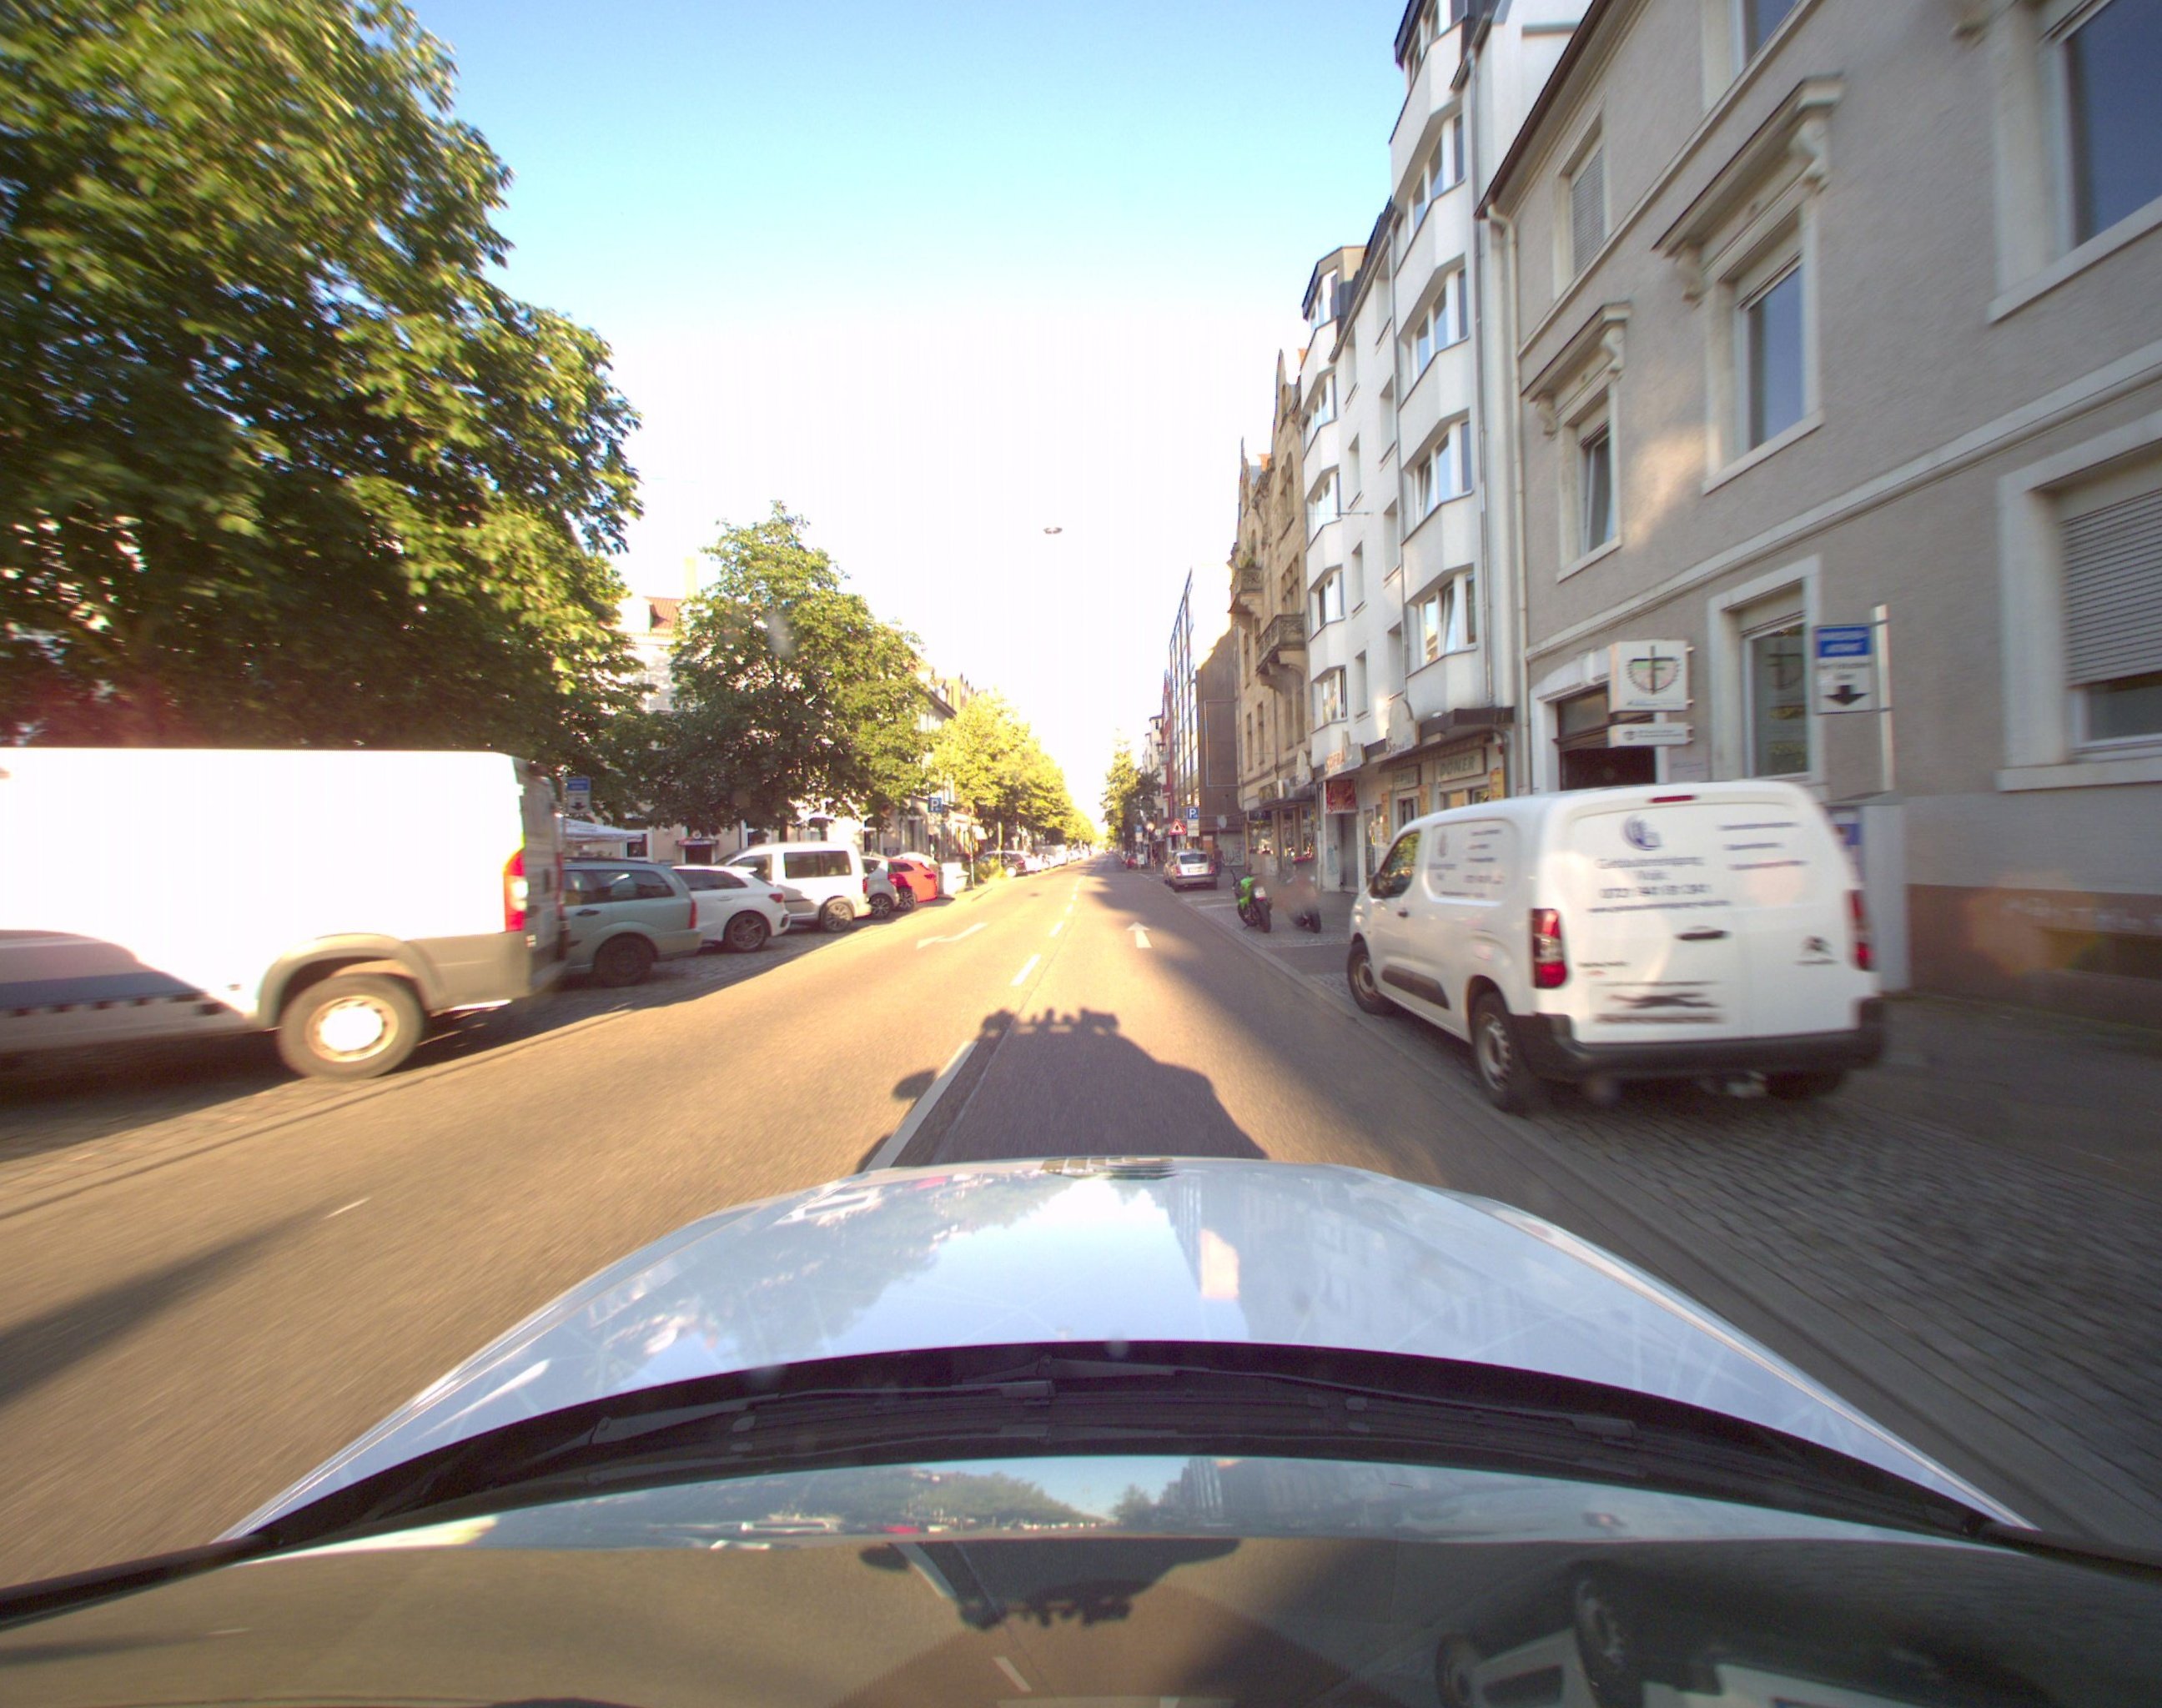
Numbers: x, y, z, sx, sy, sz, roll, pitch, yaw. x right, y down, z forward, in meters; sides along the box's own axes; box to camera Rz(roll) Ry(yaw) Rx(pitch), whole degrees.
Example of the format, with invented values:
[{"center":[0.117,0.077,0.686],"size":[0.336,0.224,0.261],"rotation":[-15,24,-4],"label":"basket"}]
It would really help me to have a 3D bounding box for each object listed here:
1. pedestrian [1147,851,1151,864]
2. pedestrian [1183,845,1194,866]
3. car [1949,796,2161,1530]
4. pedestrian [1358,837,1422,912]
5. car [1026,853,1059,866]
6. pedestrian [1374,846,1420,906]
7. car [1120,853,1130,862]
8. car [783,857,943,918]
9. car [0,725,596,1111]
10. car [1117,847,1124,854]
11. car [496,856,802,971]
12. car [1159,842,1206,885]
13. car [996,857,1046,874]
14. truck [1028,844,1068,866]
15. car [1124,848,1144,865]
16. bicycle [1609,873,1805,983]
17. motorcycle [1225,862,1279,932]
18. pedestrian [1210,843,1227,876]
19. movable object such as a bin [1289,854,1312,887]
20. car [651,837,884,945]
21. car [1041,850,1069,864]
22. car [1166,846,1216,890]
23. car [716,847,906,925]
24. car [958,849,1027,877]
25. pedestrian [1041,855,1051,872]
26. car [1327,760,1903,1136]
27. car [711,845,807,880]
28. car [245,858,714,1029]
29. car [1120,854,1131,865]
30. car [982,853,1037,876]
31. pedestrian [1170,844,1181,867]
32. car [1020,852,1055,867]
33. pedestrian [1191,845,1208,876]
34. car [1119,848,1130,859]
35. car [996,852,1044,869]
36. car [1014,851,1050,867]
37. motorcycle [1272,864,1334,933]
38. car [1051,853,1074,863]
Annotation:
[{"center":[8.802,0.459,105.623],"size":[0.532,1.622,0.534],"rotation":[-1,0,2],"label":"pedestrian"},{"center":[8.928,0.091,67.838],"size":[0.763,1.689,0.786],"rotation":[-2,0,-1],"label":"pedestrian"},{"center":[3.048,0.658,0.183],"size":[1.661,1.544,3.884],"rotation":[-1,1,2],"label":"car"},{"center":[6.331,0.407,16.753],"size":[0.952,1.486,0.993],"rotation":[-1,0,1],"label":"pedestrian"},{"center":[-4.493,0.643,95.880],"size":[3.726,1.449,2.001],"rotation":[0,0,1],"label":"car"},{"center":[6.879,0.471,17.697],"size":[0.734,1.219,0.796],"rotation":[-3,1,32],"label":"pedestrian"},{"center":[5.972,0.496,111.312],"size":[1.203,1.300,2.660],"rotation":[-1,-1,-1],"label":"car"},{"center":[-6.121,0.876,22.936],"size":[4.009,1.485,1.982],"rotation":[-2,0,-28],"label":"car"},{"center":[-6.358,0.372,5.937],"size":[4.621,2.251,2.185],"rotation":[-1,0,-25],"label":"car"},{"center":[8.768,-0.762,182.075],"size":[1.305,1.600,2.660],"rotation":[-1,-1,-1],"label":"car"},{"center":[-6.682,0.796,12.754],"size":[4.018,1.492,1.829],"rotation":[0,0,-37],"label":"car"},{"center":[4.596,0.386,37.203],"size":[1.690,1.769,4.001],"rotation":[-2,1,1],"label":"car"},{"center":[-5.171,0.991,70.814],"size":[4.160,1.507,2.001],"rotation":[0,0,1],"label":"car"},{"center":[-4.112,0.176,102.203],"size":[4.923,2.615,2.000],"rotation":[-2,0,1],"label":"truck"},{"center":[5.170,0.244,79.327],"size":[1.572,1.542,3.395],"rotation":[-3,0,-1],"label":"car"},{"center":[6.413,0.708,8.466],"size":[0.455,1.012,1.705],"rotation":[-1,-1,-12],"label":"bicycle"},{"center":[3.264,0.784,15.712],"size":[0.586,1.200,2.211],"rotation":[-2,1,2],"label":"motorcycle"},{"center":[7.425,0.267,44.047],"size":[0.752,1.767,1.222],"rotation":[-1,0,1],"label":"pedestrian"},{"center":[7.182,0.533,26.628],"size":[0.593,1.084,0.664],"rotation":[-1,0,3],"label":"movable object such as a bin"},{"center":[-6.205,0.627,16.243],"size":[4.016,1.878,1.851],"rotation":[-1,1,-34],"label":"car"},{"center":[-3.569,0.449,112.908],"size":[3.726,1.859,2.001],"rotation":[0,0,1],"label":"car"},{"center":[4.321,0.508,32.494],"size":[1.673,1.561,4.005],"rotation":[-3,1,4],"label":"car"},{"center":[-6.431,0.694,19.544],"size":[4.016,1.696,1.731],"rotation":[0,0,-34],"label":"car"},{"center":[-6.035,0.620,55.748],"size":[4.433,1.835,2.034],"rotation":[-1,0,1],"label":"car"},{"center":[-3.467,0.926,80.173],"size":[0.727,1.683,0.749],"rotation":[0,0,-38],"label":"pedestrian"},{"center":[3.267,0.442,6.152],"size":[1.703,1.835,4.309],"rotation":[-1,1,3],"label":"car"},{"center":[-16.461,0.398,41.714],"size":[4.439,1.677,1.945],"rotation":[-1,1,-24],"label":"car"},{"center":[-6.639,0.827,9.409],"size":[4.021,1.468,1.861],"rotation":[-1,1,-40],"label":"car"},{"center":[5.483,0.641,101.090],"size":[1.203,1.300,2.660],"rotation":[-1,-1,-1],"label":"car"},{"center":[-5.480,0.813,62.832],"size":[3.975,1.708,1.834],"rotation":[-1,0,1],"label":"car"},{"center":[7.891,0.098,67.876],"size":[0.712,1.865,0.679],"rotation":[-3,0,-1],"label":"pedestrian"},{"center":[-4.786,0.637,90.831],"size":[3.726,1.596,2.001],"rotation":[0,0,1],"label":"car"},{"center":[6.455,0.341,44.447],"size":[0.752,1.640,1.259],"rotation":[-1,0,1],"label":"pedestrian"},{"center":[5.555,-0.080,104.034],"size":[1.203,1.300,2.660],"rotation":[-1,-1,-1],"label":"car"},{"center":[-5.849,0.571,78.317],"size":[4.410,1.599,2.001],"rotation":[0,0,1],"label":"car"},{"center":[-5.289,0.548,88.094],"size":[3.726,1.642,2.001],"rotation":[0,0,1],"label":"car"},{"center":[4.052,0.771,15.015],"size":[0.586,1.123,2.211],"rotation":[-1,1,2],"label":"motorcycle"},{"center":[-3.027,0.647,135.068],"size":[3.726,1.493,2.001],"rotation":[0,0,1],"label":"car"}]
